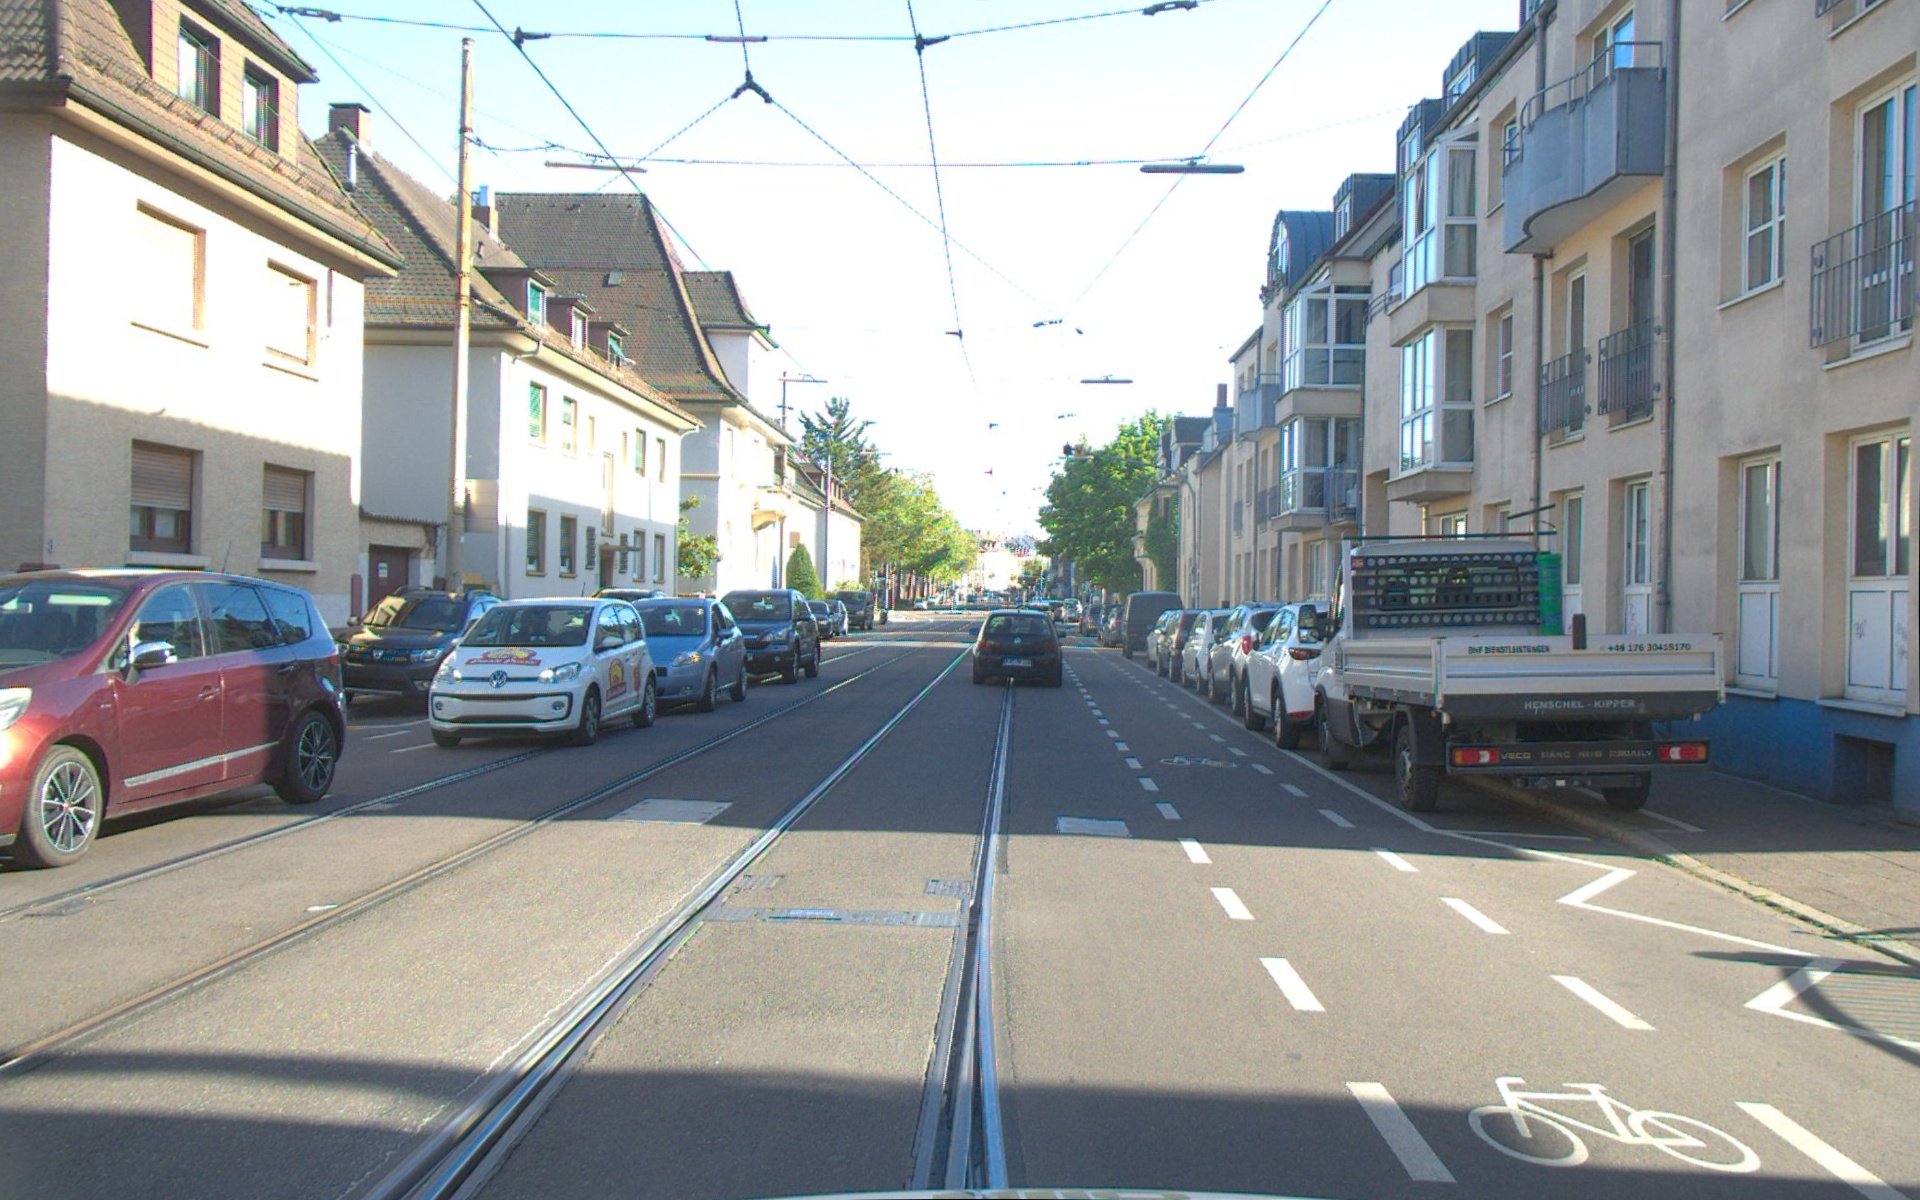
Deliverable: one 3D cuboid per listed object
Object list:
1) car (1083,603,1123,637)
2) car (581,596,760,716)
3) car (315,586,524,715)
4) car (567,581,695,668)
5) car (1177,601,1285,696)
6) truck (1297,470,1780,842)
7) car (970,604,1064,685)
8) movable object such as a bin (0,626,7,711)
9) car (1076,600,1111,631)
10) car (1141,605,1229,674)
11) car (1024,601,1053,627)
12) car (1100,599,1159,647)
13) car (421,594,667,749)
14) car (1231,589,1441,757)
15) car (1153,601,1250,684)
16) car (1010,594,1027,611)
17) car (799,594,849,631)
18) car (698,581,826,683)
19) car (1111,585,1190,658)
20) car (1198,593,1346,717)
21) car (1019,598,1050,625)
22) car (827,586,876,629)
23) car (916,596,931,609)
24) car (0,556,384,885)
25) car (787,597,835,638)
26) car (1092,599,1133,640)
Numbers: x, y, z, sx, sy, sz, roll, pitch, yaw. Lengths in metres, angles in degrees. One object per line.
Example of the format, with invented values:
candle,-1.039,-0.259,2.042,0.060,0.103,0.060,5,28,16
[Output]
car,6.897,0.943,79.979,1.569,1.552,3.549,3,0,0
car,-3.863,0.698,22.654,1.584,1.486,4.076,0,0,2
car,-7.501,0.662,23.330,1.582,1.656,3.922,0,0,1
car,-6.946,0.491,35.338,1.725,1.734,4.556,0,0,1
car,5.004,0.855,30.879,1.466,1.584,3.365,3,0,1
truck,4.598,0.372,14.441,2.248,2.520,6.148,1,0,2
car,1.109,0.811,31.932,1.680,1.427,4.007,1,0,2
movable object such as a bin,-11.212,0.758,18.545,0.644,0.961,0.582,4,0,2
car,7.114,0.824,88.192,1.631,1.591,3.771,2,0,2
car,5.486,0.930,40.728,1.642,1.517,4.173,3,0,1
car,4.668,0.842,98.510,1.703,1.466,3.810,1,0,2
car,6.265,0.812,61.589,1.708,1.627,4.434,3,0,0
car,-4.334,0.694,17.745,1.549,1.486,3.615,0,0,3
car,4.510,0.805,20.425,1.703,1.777,4.257,3,0,2
car,5.056,0.855,35.022,1.522,1.584,3.653,3,0,1
car,6.829,0.290,194.057,1.750,1.892,4.000,3,0,0
car,-5.889,0.512,71.901,1.642,1.503,3.836,3,0,2
car,-3.572,0.550,30.555,1.668,1.734,4.365,0,0,2
car,5.671,0.604,49.721,1.866,2.022,4.563,3,0,1
car,4.814,0.787,25.991,1.569,1.729,3.990,3,0,1
car,4.036,0.629,89.253,1.600,1.396,3.758,1,0,3
car,-5.568,0.370,85.725,1.866,2.049,4.951,3,0,3
car,-4.204,0.260,189.417,1.544,1.503,3.438,0,0,-4
car,-5.437,0.608,10.194,1.701,1.639,4.717,0,0,6
car,-5.828,0.655,65.050,1.629,1.503,4.249,1,0,-2
car,6.558,0.810,71.280,1.427,1.627,3.294,3,0,0
